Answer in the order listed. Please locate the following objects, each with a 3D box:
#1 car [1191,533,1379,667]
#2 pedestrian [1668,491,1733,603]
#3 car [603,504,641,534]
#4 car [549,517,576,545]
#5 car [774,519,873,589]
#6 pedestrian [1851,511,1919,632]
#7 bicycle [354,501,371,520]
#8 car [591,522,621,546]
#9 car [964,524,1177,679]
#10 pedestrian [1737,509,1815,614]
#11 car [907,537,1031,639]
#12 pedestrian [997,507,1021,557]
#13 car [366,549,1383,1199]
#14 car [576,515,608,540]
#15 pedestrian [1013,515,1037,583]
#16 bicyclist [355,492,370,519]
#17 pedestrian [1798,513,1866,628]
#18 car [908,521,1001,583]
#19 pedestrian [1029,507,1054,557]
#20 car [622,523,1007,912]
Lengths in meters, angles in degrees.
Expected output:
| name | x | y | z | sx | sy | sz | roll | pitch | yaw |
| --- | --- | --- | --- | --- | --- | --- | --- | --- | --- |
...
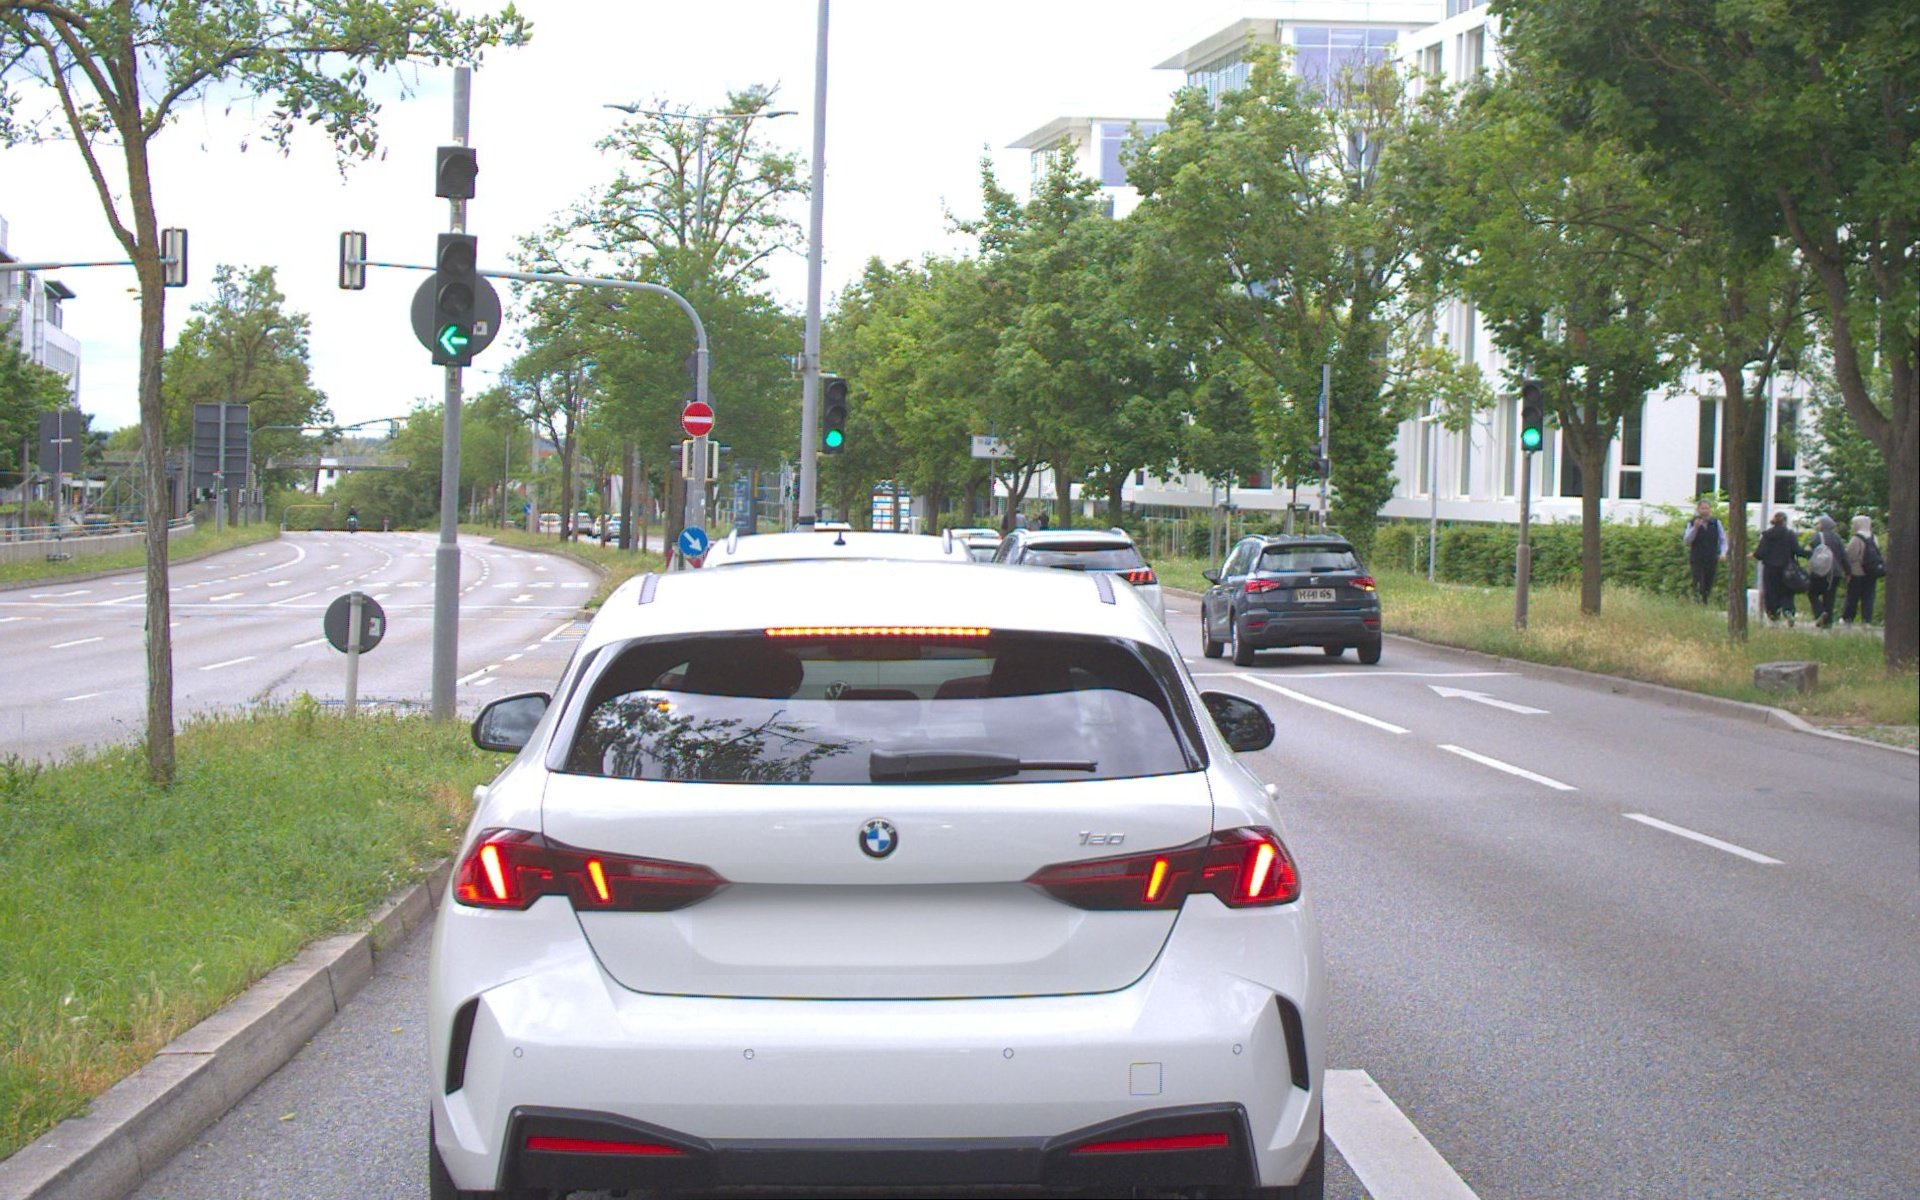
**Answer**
| name | x | y | z | sx | sy | sz | roll | pitch | yaw |
| --- | --- | --- | --- | --- | --- | --- | --- | --- | --- |
| car | 3.844 | -0.029 | 41.194 | 1.657 | 1.507 | 4.001 | 1 | 1 | -3 |
| pedestrian | 10.544 | -0.753 | 48.939 | 0.741 | 1.568 | 0.674 | 1 | 0 | -1 |
| car | -19.332 | -4.615 | 196.716 | 1.993 | 1.664 | 4.001 | -1 | 1 | -8 |
| car | -25.643 | -4.437 | 221.781 | 1.695 | 1.711 | 4.001 | 1 | 1 | -7 |
| car | -3.297 | -1.122 | 82.260 | 1.891 | 1.590 | 4.315 | 1 | 1 | -8 |
| pedestrian | 13.038 | -0.401 | 48.309 | 0.767 | 1.679 | 0.883 | 1 | 0 | -1 |
| bicycle | -37.038 | -5.533 | 213.080 | 0.810 | 1.100 | 2.557 | 1 | 1 | -14 |
| car | -22.795 | -4.261 | 221.508 | 1.692 | 1.481 | 3.694 | 1 | 1 | -9 |
| car | 1.146 | -0.025 | 37.505 | 1.854 | 1.590 | 4.314 | 0 | 1 | -4 |
| pedestrian | 11.458 | -0.538 | 48.296 | 0.789 | 1.443 | 1.112 | 1 | 0 | -1 |
| car | 0.107 | -0.211 | 52.432 | 1.605 | 1.463 | 3.676 | 1 | 1 | -4 |
| pedestrian | 1.975 | -2.759 | 139.770 | 0.762 | 2.007 | 0.754 | 1 | 0 | -15 |
| car | -0.181 | 0.621 | 8.249 | 1.822 | 1.433 | 4.000 | 1 | 1 | -1 |
| car | -26.184 | -5.160 | 244.684 | 1.993 | 1.726 | 4.001 | 1 | 1 | -10 |
| pedestrian | 2.519 | -1.975 | 132.883 | 0.831 | 2.618 | 0.646 | 1 | 1 | -1 |
| bicyclist | -37.052 | -5.867 | 213.164 | 0.810 | 1.647 | 1.189 | 1 | 0 | -14 |
| pedestrian | 12.243 | -0.412 | 48.288 | 0.699 | 1.590 | 0.883 | 1 | 0 | -1 |
| car | -0.151 | -1.147 | 80.758 | 1.653 | 1.420 | 3.536 | 0 | 1 | -9 |
| pedestrian | 3.278 | -2.732 | 138.105 | 0.848 | 2.007 | 0.606 | 1 | 1 | -15 |
| car | -0.620 | 0.447 | 16.126 | 1.549 | 1.563 | 4.000 | 1 | 1 | -1 |
